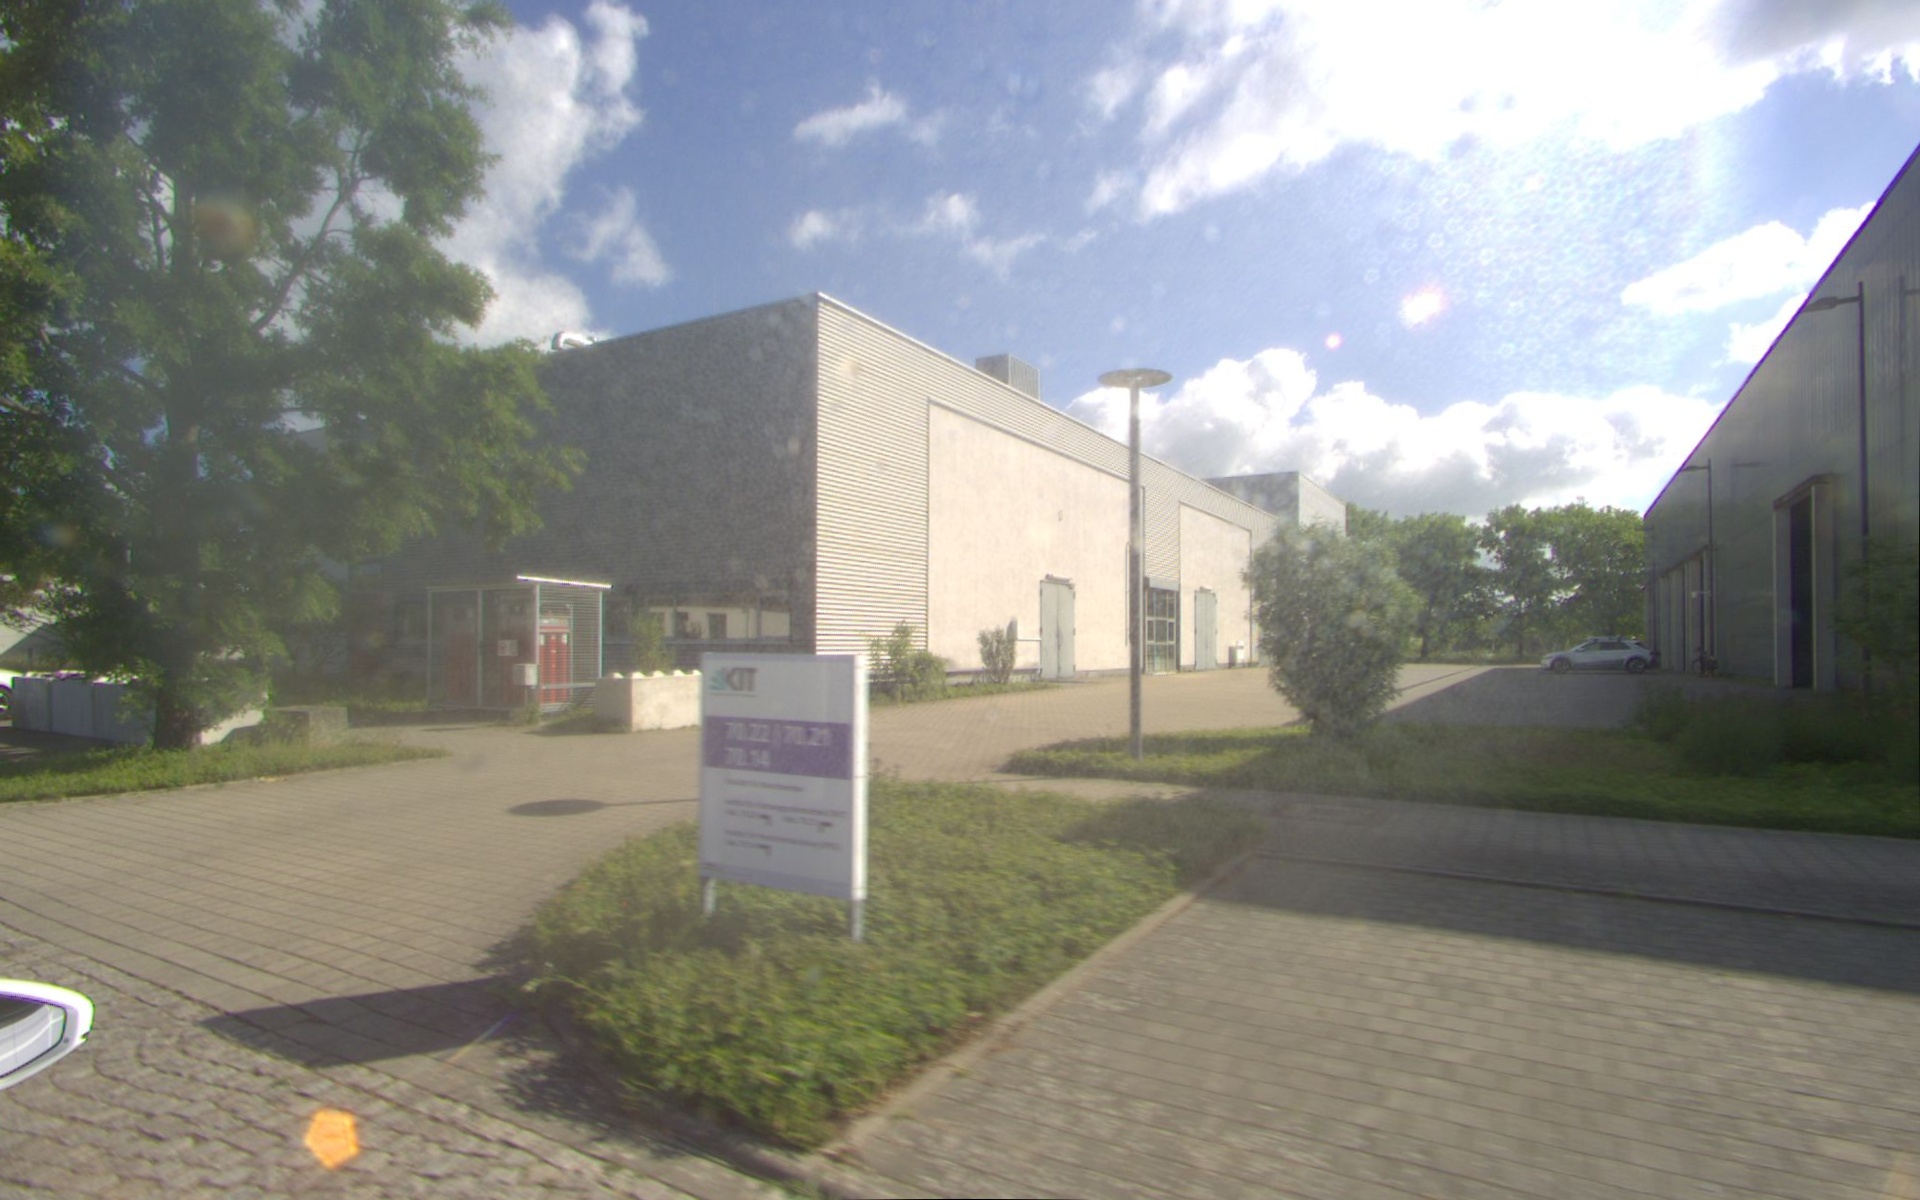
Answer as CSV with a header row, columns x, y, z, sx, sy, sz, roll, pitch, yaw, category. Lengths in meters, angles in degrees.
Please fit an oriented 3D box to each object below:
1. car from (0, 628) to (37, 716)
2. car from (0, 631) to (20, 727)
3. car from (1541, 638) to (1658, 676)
x,y,z,sx,sy,sz,roll,pitch,yaw,category
-17.787,1.217,16.085,1.669,1.479,4.125,-1,-1,36,car
-16.154,1.163,13.561,1.731,1.441,4.713,-1,-1,30,car
30.101,2.666,47.312,4.511,1.684,1.992,-1,-2,30,car
